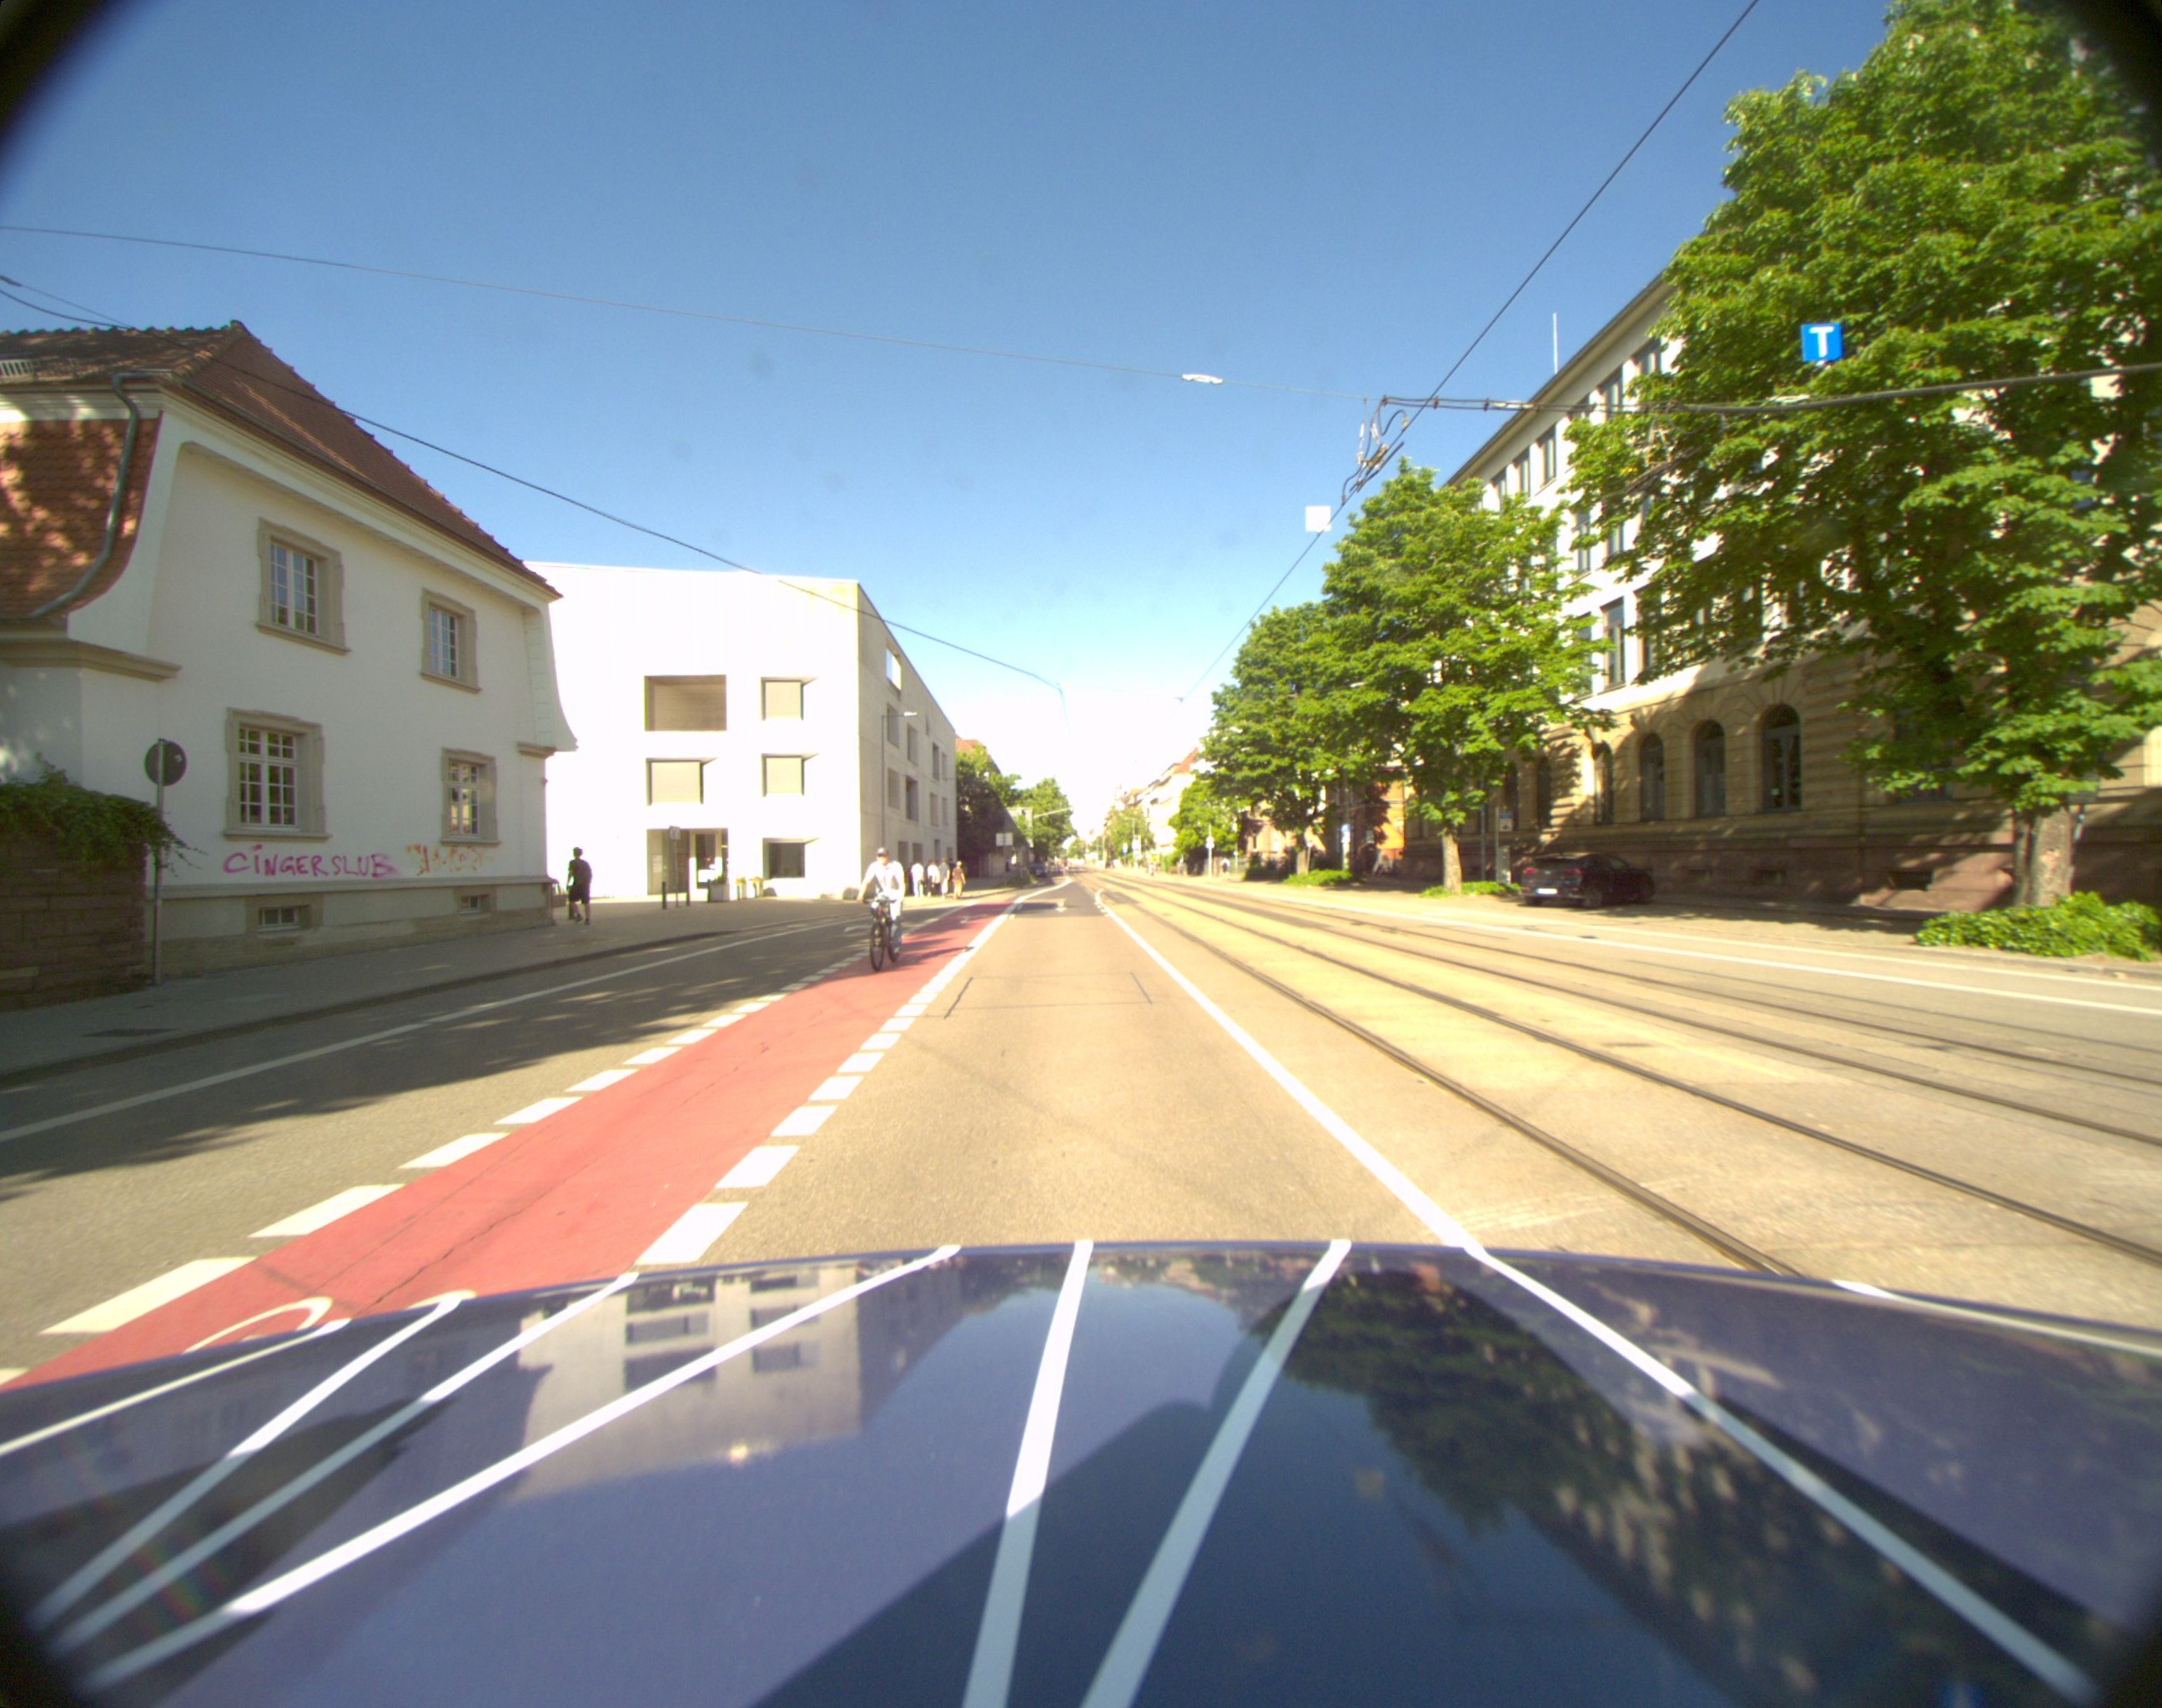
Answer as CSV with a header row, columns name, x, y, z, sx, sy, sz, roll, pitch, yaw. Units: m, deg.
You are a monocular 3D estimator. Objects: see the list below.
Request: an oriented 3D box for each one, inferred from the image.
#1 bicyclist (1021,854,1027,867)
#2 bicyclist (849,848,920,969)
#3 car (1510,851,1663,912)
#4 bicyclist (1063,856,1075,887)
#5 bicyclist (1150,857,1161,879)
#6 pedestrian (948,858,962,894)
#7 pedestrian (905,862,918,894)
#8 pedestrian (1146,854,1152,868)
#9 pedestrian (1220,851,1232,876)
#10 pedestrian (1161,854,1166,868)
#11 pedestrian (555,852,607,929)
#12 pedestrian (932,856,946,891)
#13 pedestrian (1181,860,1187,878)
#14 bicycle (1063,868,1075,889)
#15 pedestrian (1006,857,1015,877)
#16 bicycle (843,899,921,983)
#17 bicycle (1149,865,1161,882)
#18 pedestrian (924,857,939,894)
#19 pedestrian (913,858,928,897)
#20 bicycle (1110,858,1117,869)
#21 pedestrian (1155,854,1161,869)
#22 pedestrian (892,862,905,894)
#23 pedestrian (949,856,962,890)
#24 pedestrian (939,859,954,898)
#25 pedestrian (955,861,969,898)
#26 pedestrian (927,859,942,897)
name,x,y,z,sx,sy,sz,roll,pitch,yaw
bicyclist,-9.634,1.049,128.739,0.813,2.194,0.984,-2,1,1
bicyclist,-3.001,0.800,11.690,0.751,1.765,1.014,-2,0,2
car,14.467,0.732,21.719,4.116,1.565,1.917,-1,0,-28
bicyclist,-1.200,1.734,74.830,1.003,2.958,1.474,-2,1,0
bicyclist,7.712,1.462,79.125,1.003,2.254,1.021,-2,1,2
pedestrian,-6.328,1.101,38.295,0.587,1.795,0.582,-1,0,-2
pedestrian,-8.401,1.171,37.669,0.534,1.557,0.520,-1,0,-2
pedestrian,8.638,0.906,96.557,0.578,1.845,0.684,-1,0,0
pedestrian,10.989,0.719,57.582,0.728,1.845,0.654,-1,0,1
pedestrian,10.242,0.869,94.315,0.578,1.845,0.684,-1,0,0
pedestrian,-12.267,0.879,18.648,0.754,1.823,0.733,-1,0,0
pedestrian,-7.445,1.026,39.887,0.587,1.795,0.545,-1,0,-2
pedestrian,10.461,1.503,77.137,0.578,1.845,0.654,-1,0,0
bicycle,-1.175,2.408,74.864,1.003,1.876,3.893,-2,1,1
pedestrian,-6.081,1.105,65.342,0.678,1.728,0.932,-1,0,1
bicycle,-3.004,1.278,11.628,0.612,1.071,1.830,-2,0,2
bicycle,7.740,2.008,79.268,1.003,1.672,2.984,-2,1,2
pedestrian,-7.362,1.037,37.412,0.587,1.795,0.582,-1,0,-2
pedestrian,-7.604,1.096,35.927,0.587,1.795,0.545,-1,0,-2
bicycle,5.419,1.557,126.121,1.003,1.672,2.984,-2,1,-1
pedestrian,9.575,0.895,94.267,0.578,1.845,0.684,-1,0,0
pedestrian,-9.050,1.196,37.664,0.534,1.557,0.520,-1,0,-2
pedestrian,-6.603,1.004,39.938,0.587,1.795,0.545,-1,0,-2
pedestrian,-6.269,1.152,35.501,0.587,1.795,0.520,-1,0,-2
pedestrian,-5.608,1.201,35.874,0.587,1.717,0.520,-1,0,-2
pedestrian,-6.921,1.142,35.987,0.587,1.795,0.545,-1,0,-2
